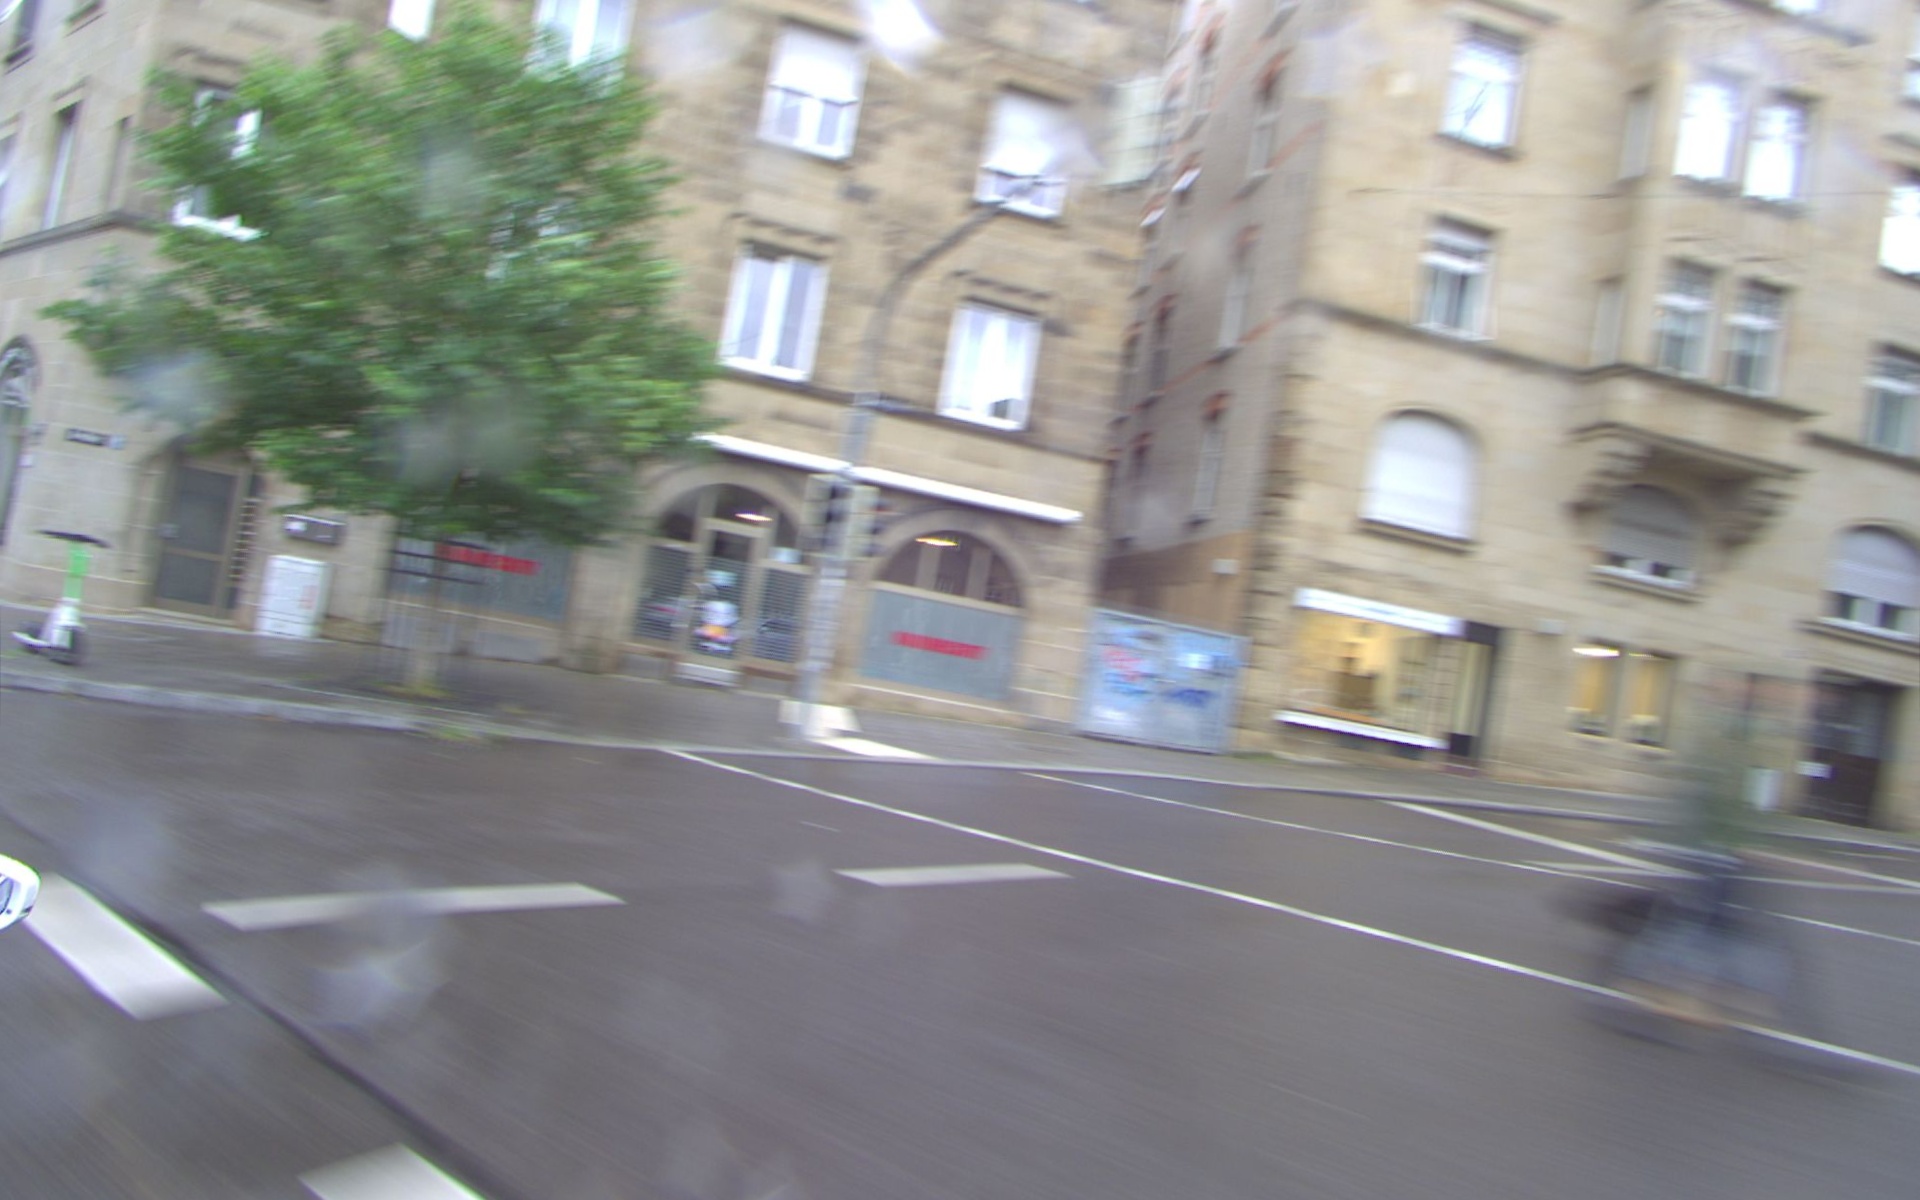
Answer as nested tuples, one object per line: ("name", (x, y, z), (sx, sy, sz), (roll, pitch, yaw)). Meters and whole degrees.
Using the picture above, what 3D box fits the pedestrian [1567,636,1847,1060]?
("pedestrian", (3.665, 1.152, 5.033), (0.887, 1.809, 0.683), (7, -1, 31))

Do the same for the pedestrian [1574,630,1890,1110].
("pedestrian", (3.343, 1.098, 4.453), (0.876, 1.809, 0.595), (7, -1, 31))

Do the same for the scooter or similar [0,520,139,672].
("scooter or similar", (-8.423, -0.057, 9.325), (1.526, 1.224, 0.639), (7, -2, 30))
